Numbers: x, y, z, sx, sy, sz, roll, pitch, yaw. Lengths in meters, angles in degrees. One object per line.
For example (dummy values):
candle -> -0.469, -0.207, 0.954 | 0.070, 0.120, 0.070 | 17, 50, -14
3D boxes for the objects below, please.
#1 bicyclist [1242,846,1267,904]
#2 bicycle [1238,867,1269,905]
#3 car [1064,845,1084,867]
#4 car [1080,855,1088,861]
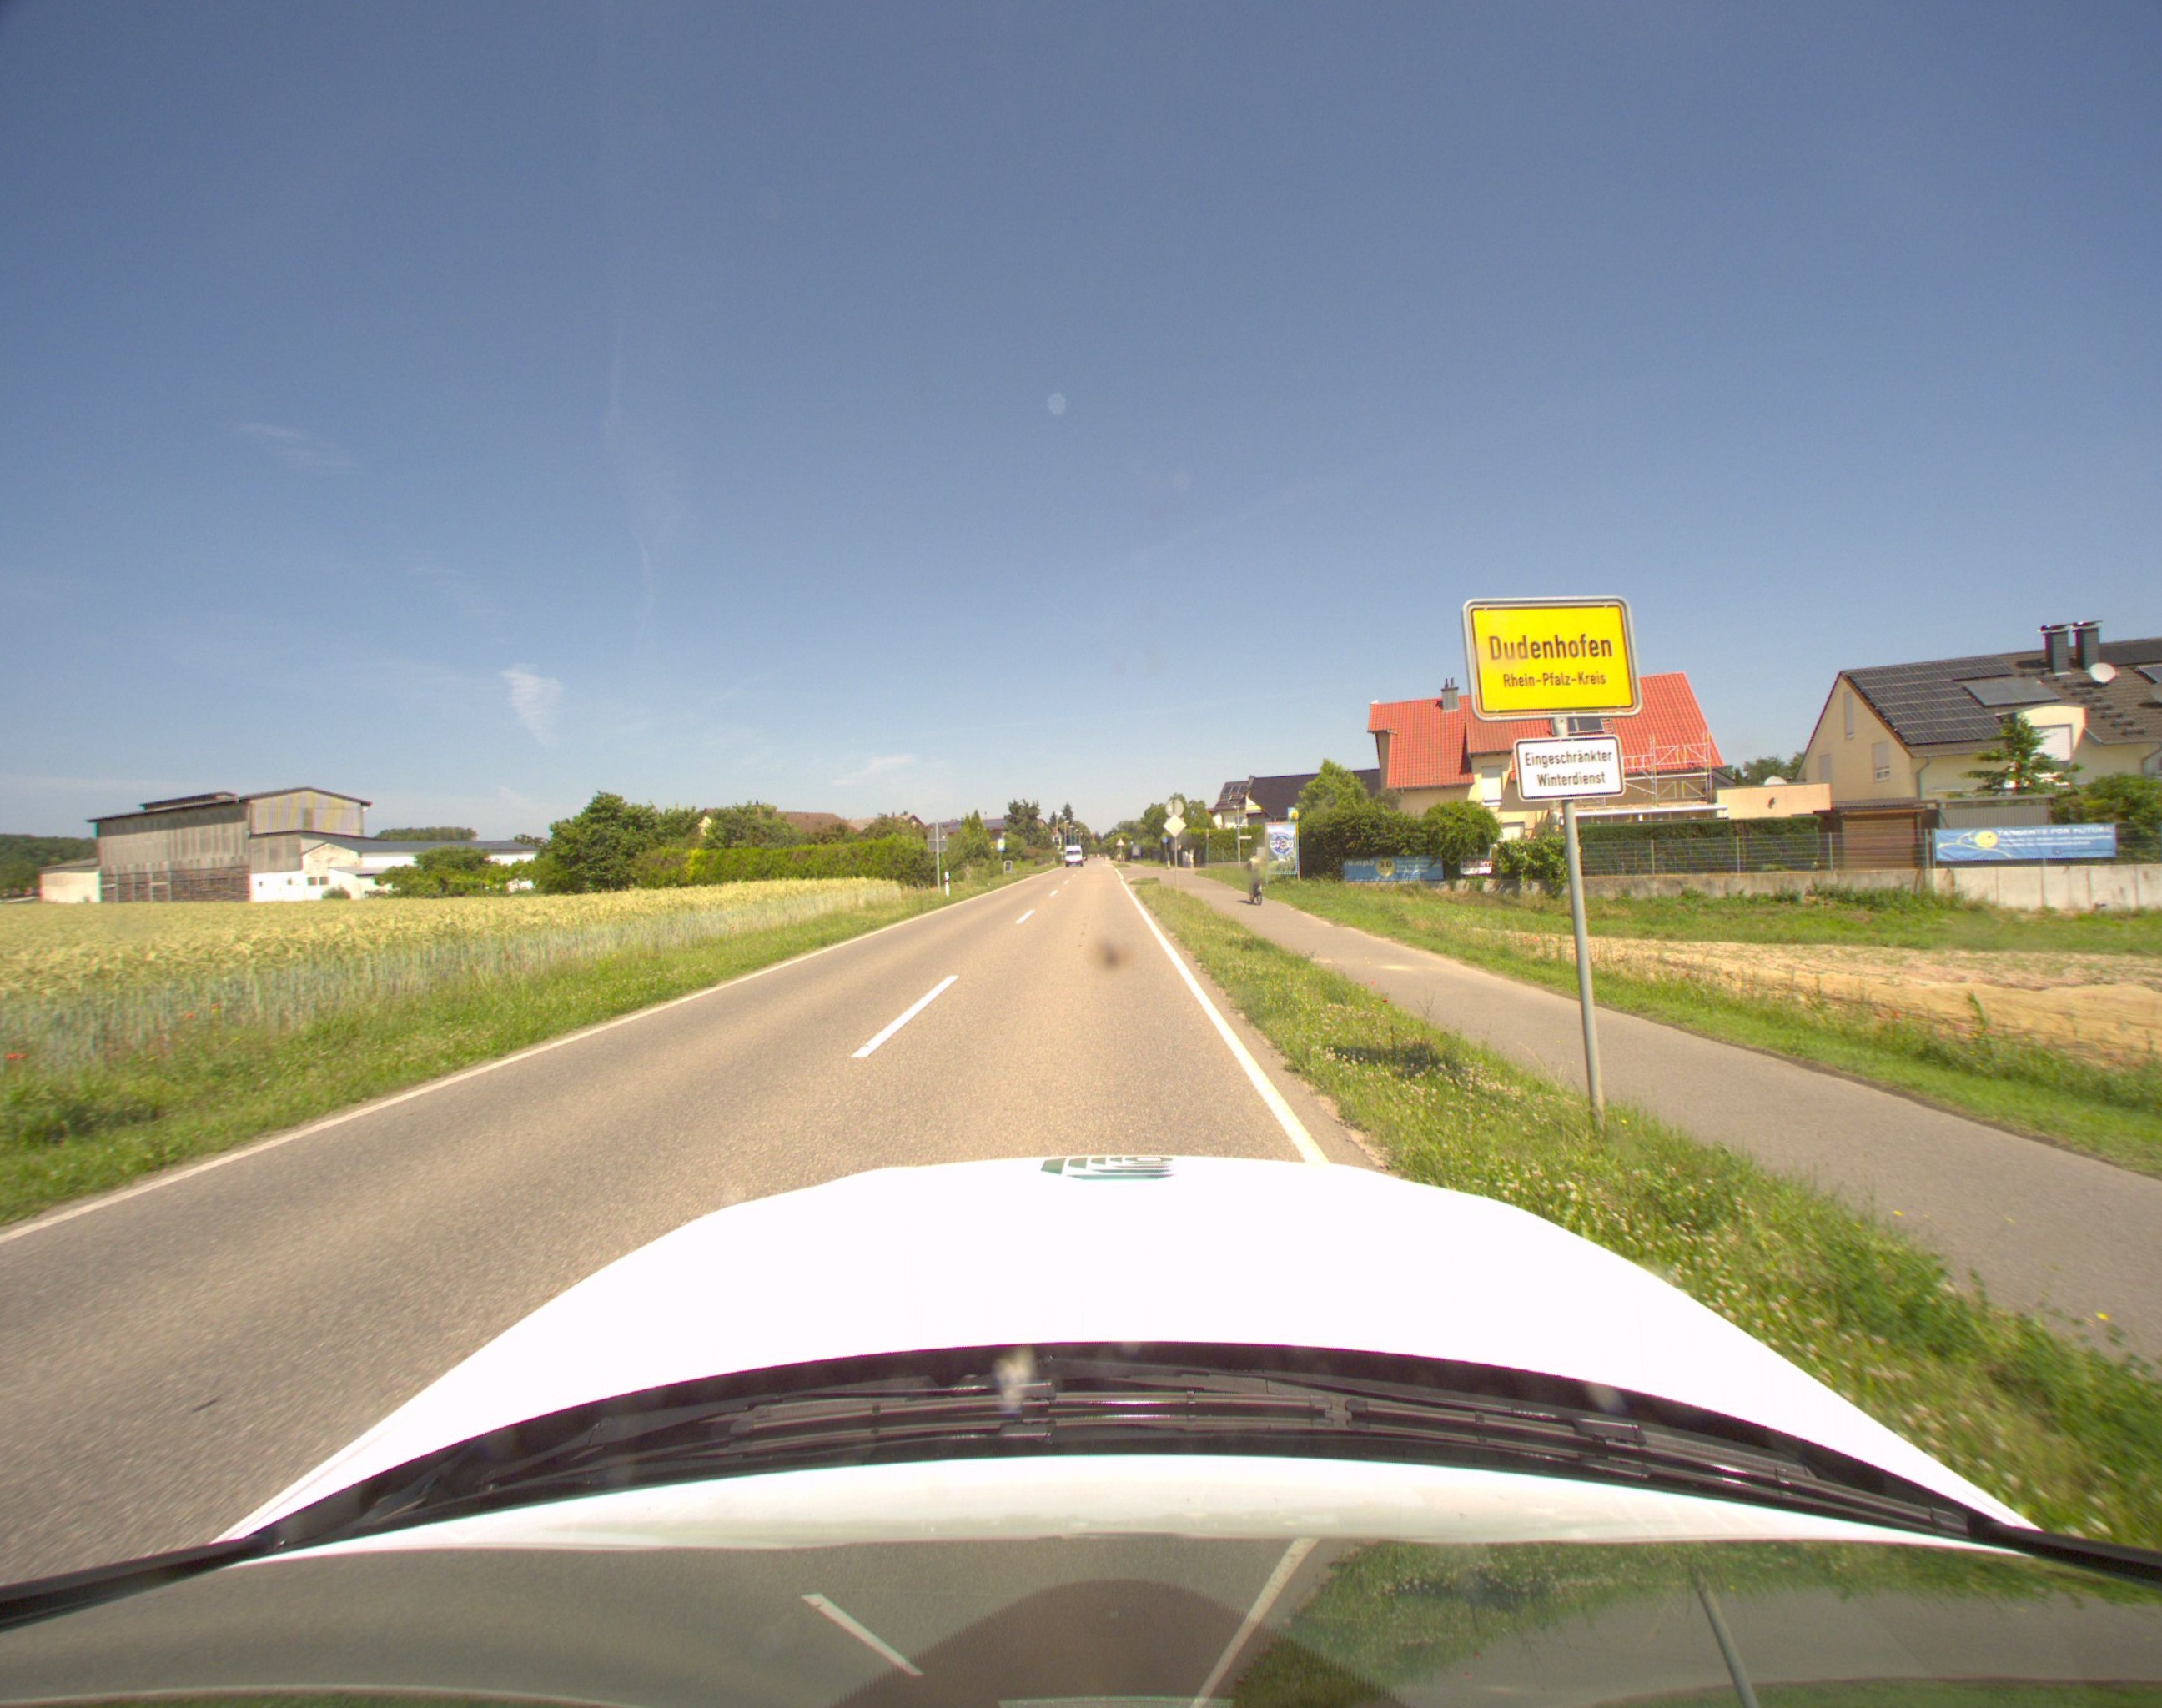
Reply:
bicyclist -> 5.825, 0.692, 27.359 | 0.642, 1.889, 0.861 | -1, 1, 1
bicycle -> 5.842, 1.046, 27.637 | 0.608, 1.158, 2.274 | -1, 1, 1
car -> -0.758, 0.210, 97.531 | 2.070, 2.542, 5.874 | -3, 0, 1
car -> 0.741, 1.024, 198.866 | 1.753, 1.385, 3.453 | -3, 0, 1
